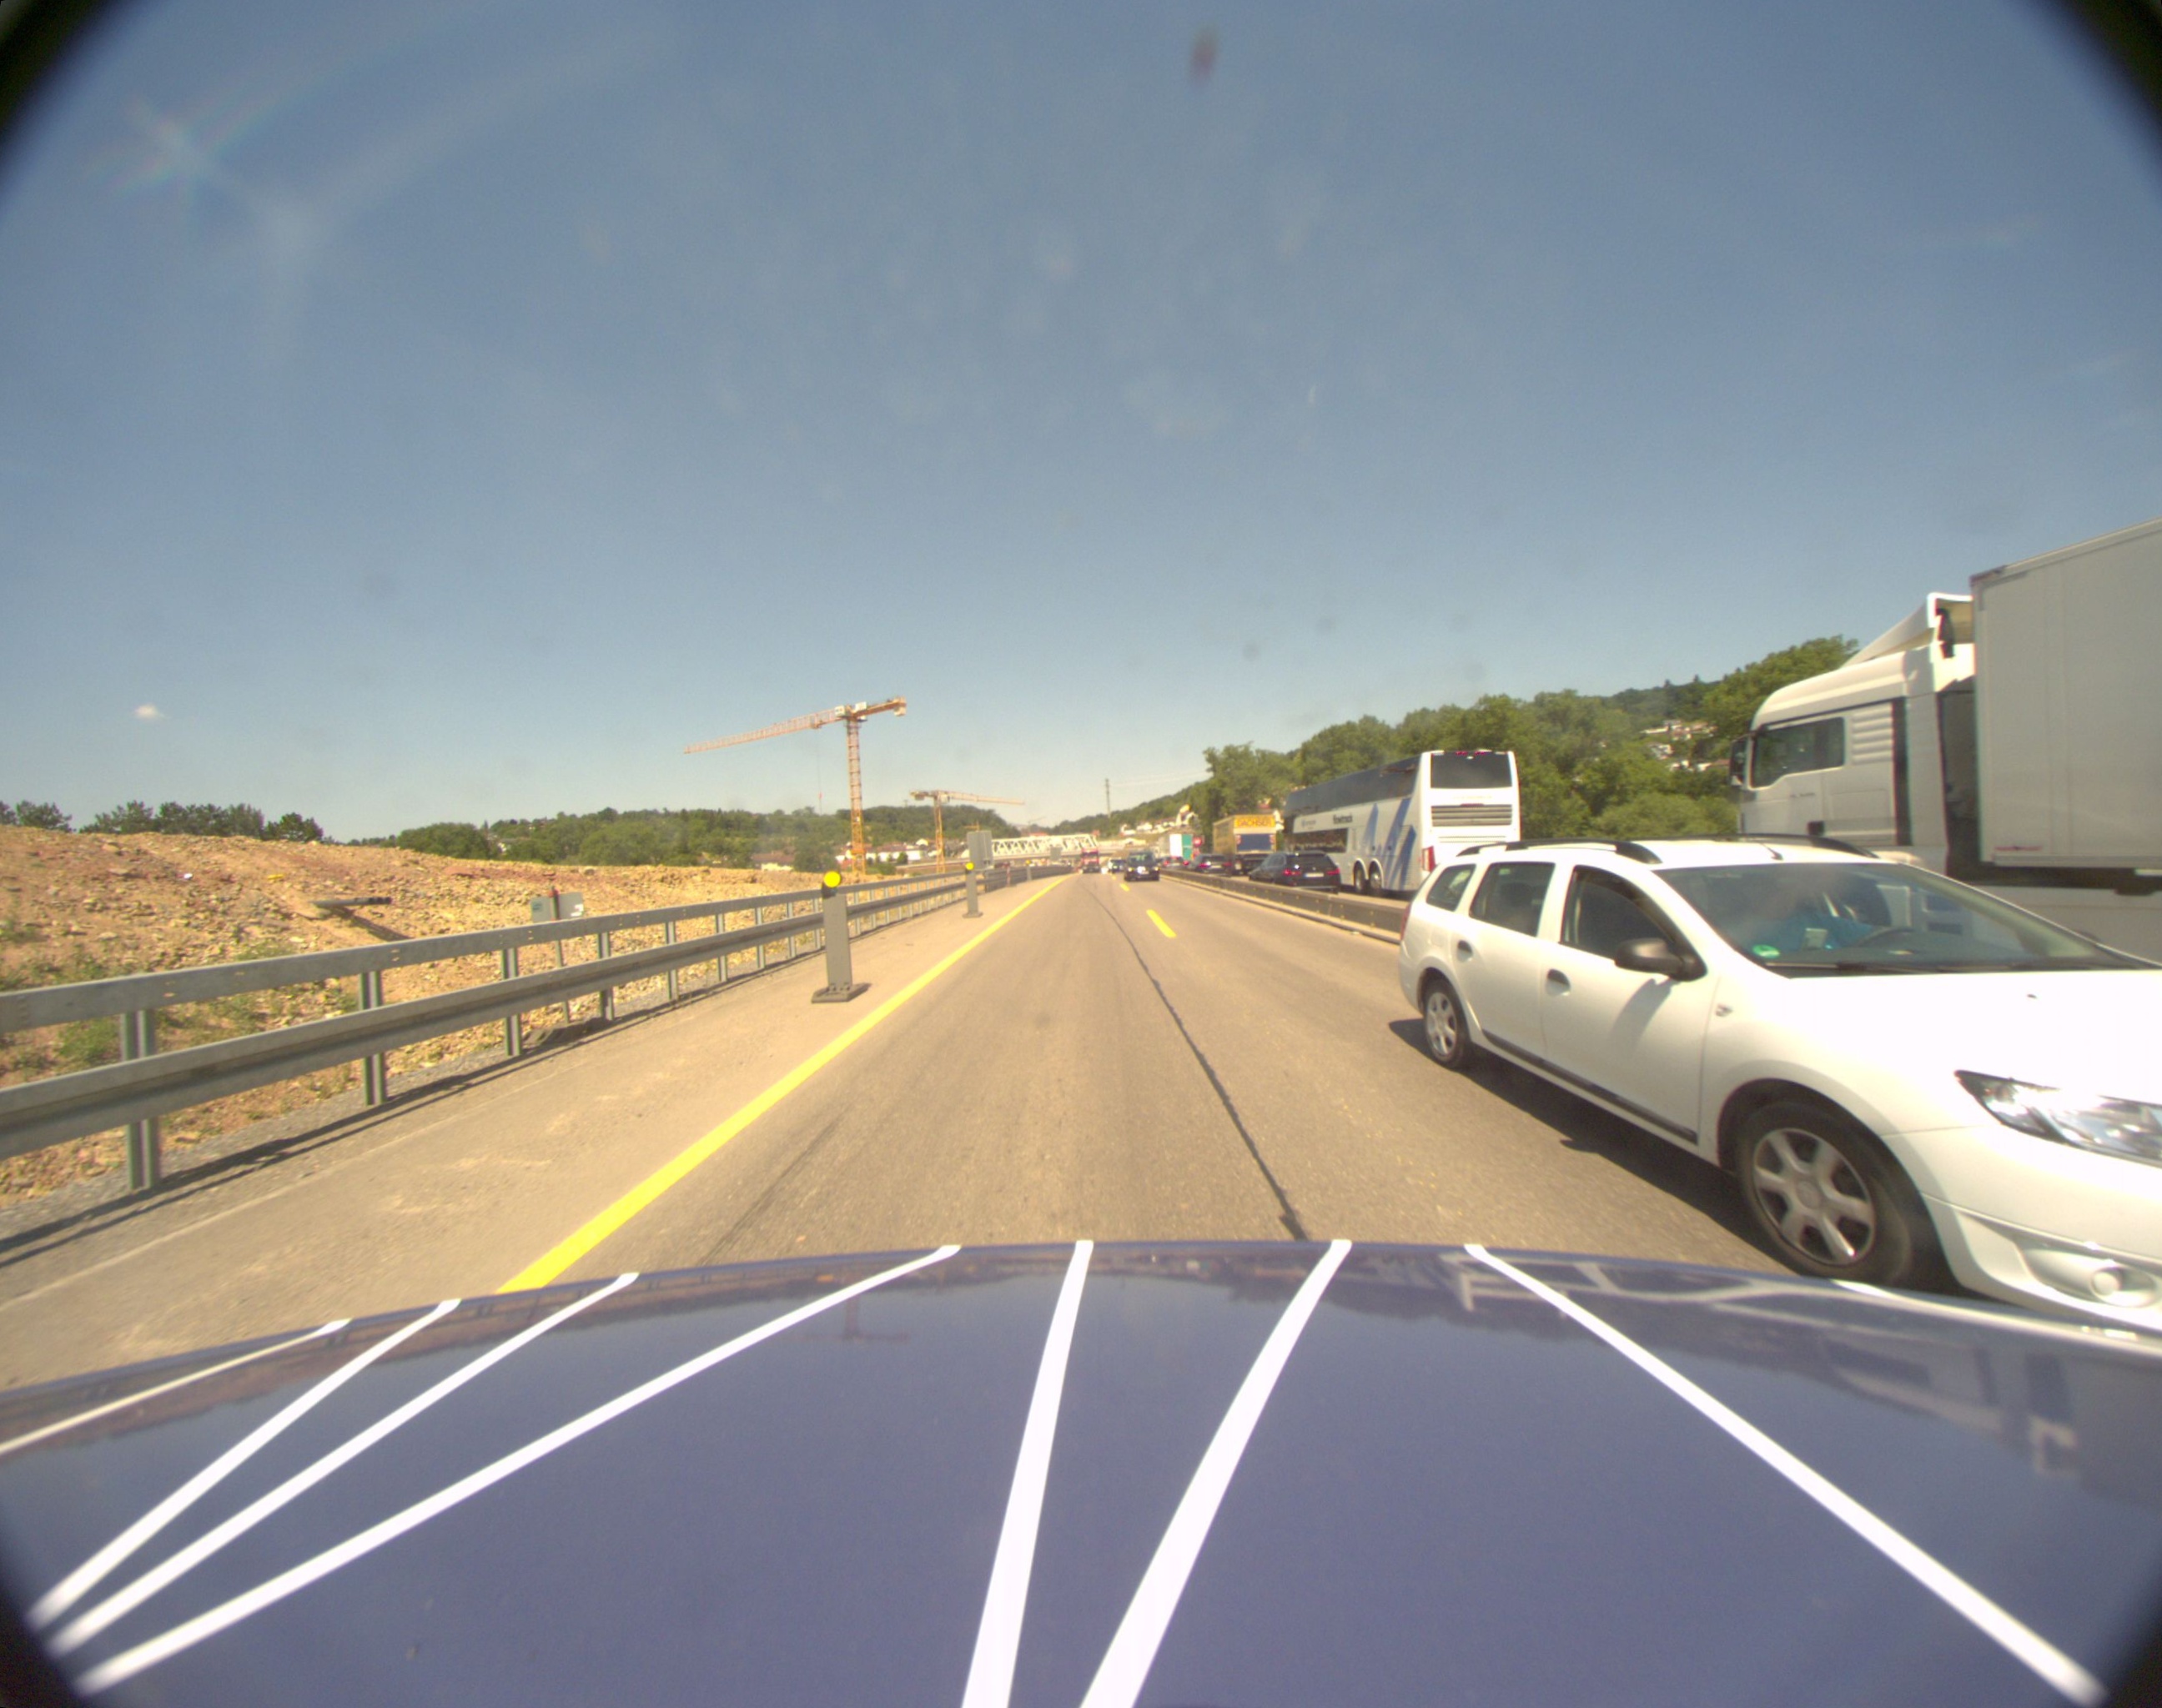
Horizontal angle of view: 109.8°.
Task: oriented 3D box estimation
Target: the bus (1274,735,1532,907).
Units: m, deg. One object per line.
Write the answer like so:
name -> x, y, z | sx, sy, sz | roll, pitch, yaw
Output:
bus -> 9.965, -0.849, 26.378 | 2.746, 4.239, 14.475 | -2, 0, 0

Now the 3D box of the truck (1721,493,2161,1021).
truck -> 10.137, -0.799, 6.799 | 3.105, 4.172, 6.703 | -2, -1, 1

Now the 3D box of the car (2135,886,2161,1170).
car -> 6.329, 0.767, 1.317 | 1.817, 1.429, 5.122 | -3, -1, 0

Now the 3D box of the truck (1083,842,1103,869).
truck -> 1.811, 0.245, 113.273 | 2.702, 3.704, 8.509 | -2, 0, 2

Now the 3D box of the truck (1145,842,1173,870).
truck -> 11.414, 0.381, 112.062 | 2.912, 3.741, 8.369 | -3, -2, -1

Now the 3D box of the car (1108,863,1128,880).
car -> 3.659, 1.727, 75.147 | 1.791, 1.577, 4.001 | -4, -1, 1

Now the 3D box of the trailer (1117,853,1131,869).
trailer -> 12.100, 2.024, 213.508 | 2.814, 4.151, 11.799 | -2, -2, -2

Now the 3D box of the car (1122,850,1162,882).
car -> 3.433, 0.647, 43.664 | 1.862, 1.683, 4.097 | -2, 0, -1

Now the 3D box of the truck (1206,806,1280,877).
truck -> 10.383, -0.743, 49.933 | 2.809, 4.128, 10.079 | -1, 0, 1

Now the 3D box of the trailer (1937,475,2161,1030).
trailer -> 10.001, -0.888, 0.444 | 3.148, 4.357, 14.079 | -2, 0, 1

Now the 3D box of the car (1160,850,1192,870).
car -> 7.251, 0.475, 58.454 | 1.864, 1.485, 4.904 | 0, 0, -1

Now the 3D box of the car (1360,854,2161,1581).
car -> 3.243, 0.801, 3.892 | 1.823, 1.521, 4.705 | -2, 0, 0

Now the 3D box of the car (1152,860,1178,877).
car -> 8.025, 1.383, 72.838 | 1.887, 1.423, 5.125 | -2, 0, 1

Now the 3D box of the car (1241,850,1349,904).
car -> 6.538, 0.677, 23.858 | 1.923, 1.414, 5.091 | -3, -1, 0

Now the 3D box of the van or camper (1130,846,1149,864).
van or camper -> 8.217, 0.142, 107.812 | 2.224, 2.497, 6.533 | -2, 0, 1

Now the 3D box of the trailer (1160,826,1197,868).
trailer -> 11.098, -0.695, 88.076 | 2.822, 4.404, 13.170 | -2, 0, 1

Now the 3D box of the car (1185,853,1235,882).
car -> 6.829, 0.675, 40.728 | 1.843, 1.435, 4.929 | -2, 0, 0

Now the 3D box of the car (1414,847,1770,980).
car -> 6.688, 0.658, 10.756 | 1.837, 1.415, 4.683 | -2, 0, 0

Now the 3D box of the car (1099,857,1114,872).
car -> 3.383, 1.456, 101.319 | 1.791, 1.870, 4.001 | -4, -1, 1

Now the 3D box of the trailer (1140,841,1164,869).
trailer -> 12.143, 0.218, 130.945 | 3.109, 4.437, 13.023 | -1, -1, 1
